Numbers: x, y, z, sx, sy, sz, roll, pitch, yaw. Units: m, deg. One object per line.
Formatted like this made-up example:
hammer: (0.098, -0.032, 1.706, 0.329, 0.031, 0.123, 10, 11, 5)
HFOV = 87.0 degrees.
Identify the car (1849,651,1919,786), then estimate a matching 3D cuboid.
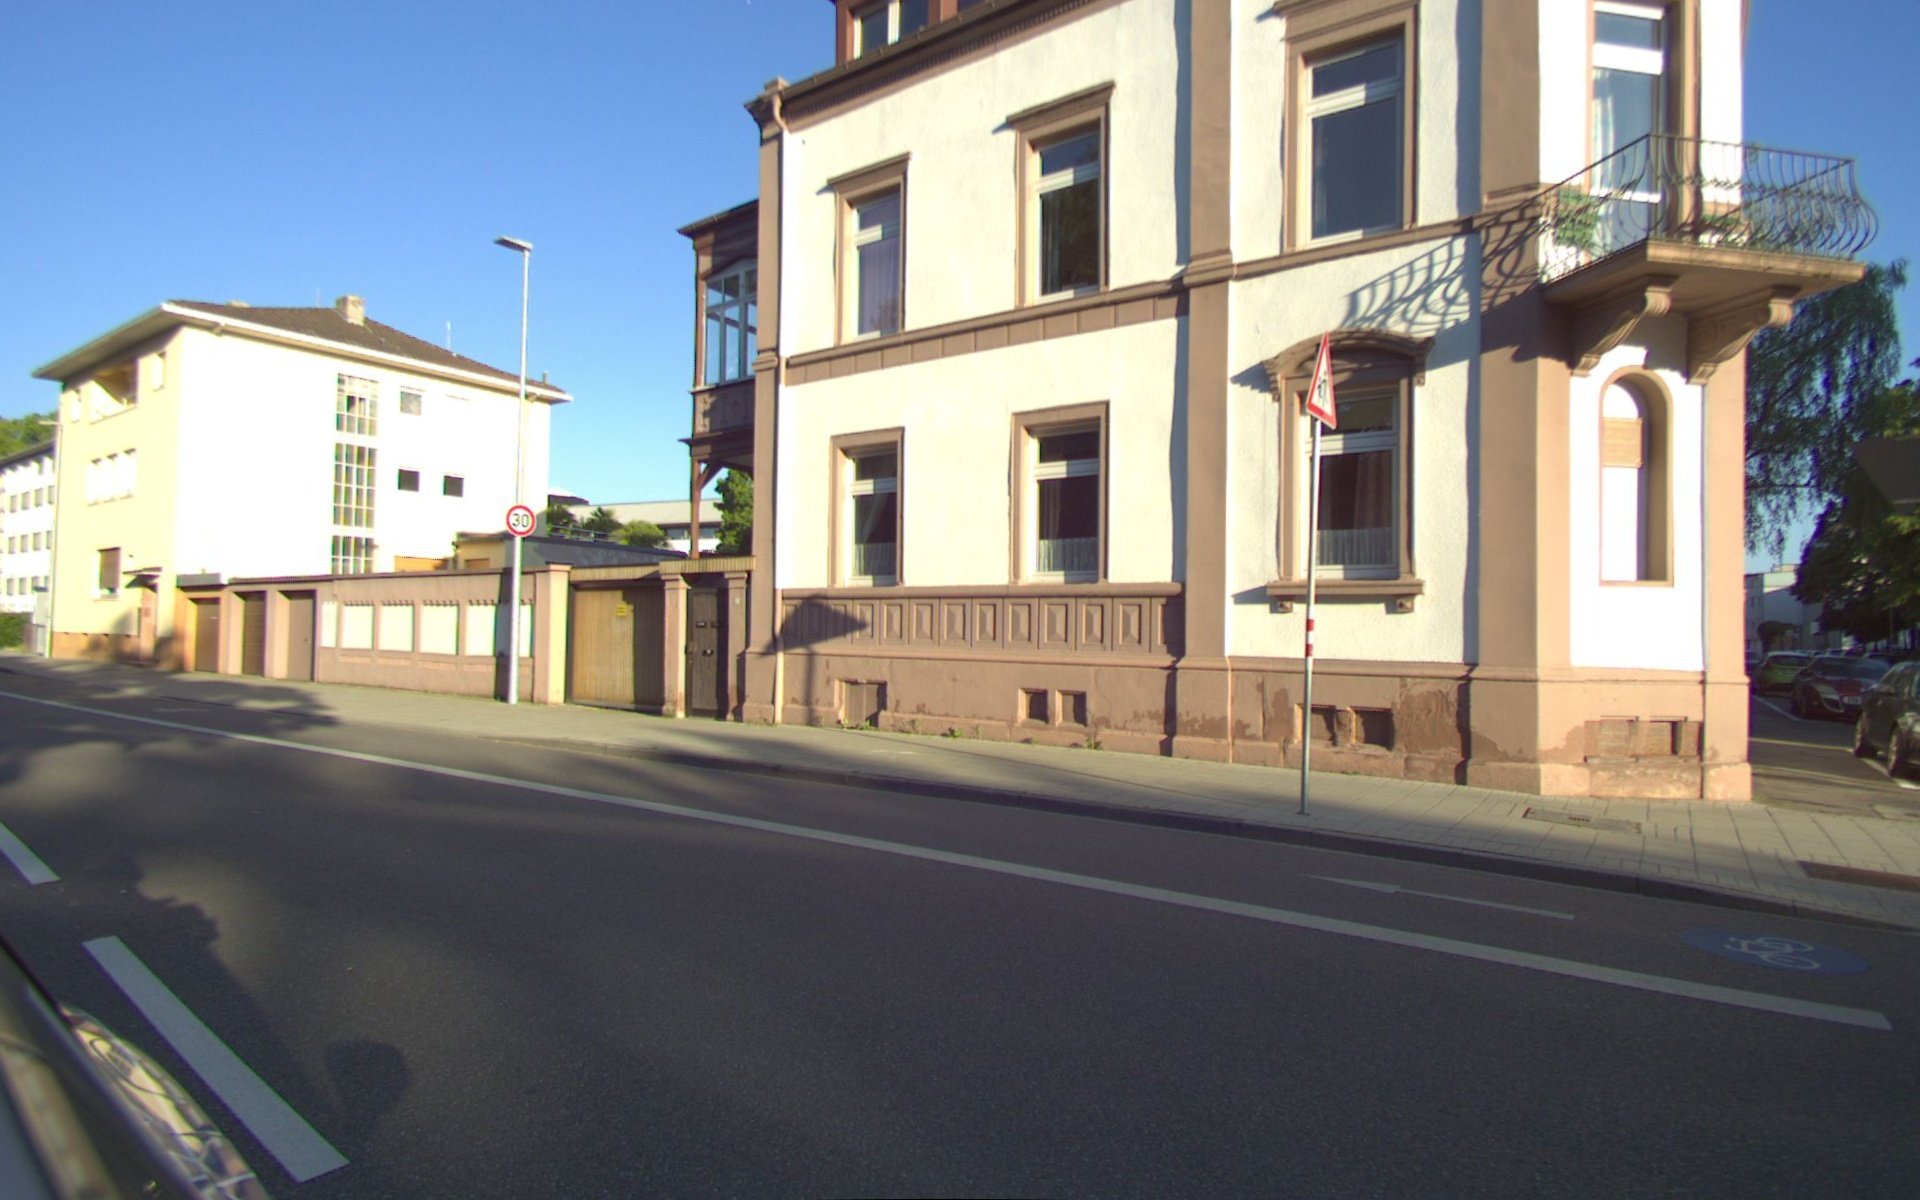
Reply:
car: (12.350, 1.367, 12.201, 1.899, 1.449, 3.874, -1, -2, 33)

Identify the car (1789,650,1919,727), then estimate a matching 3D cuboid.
car: (19.426, 1.845, 21.870, 1.899, 1.449, 3.874, -1, -2, 33)

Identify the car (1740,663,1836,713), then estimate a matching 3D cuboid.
car: (26.930, 2.817, 33.047, 1.898, 1.449, 3.876, -1, -3, 32)
